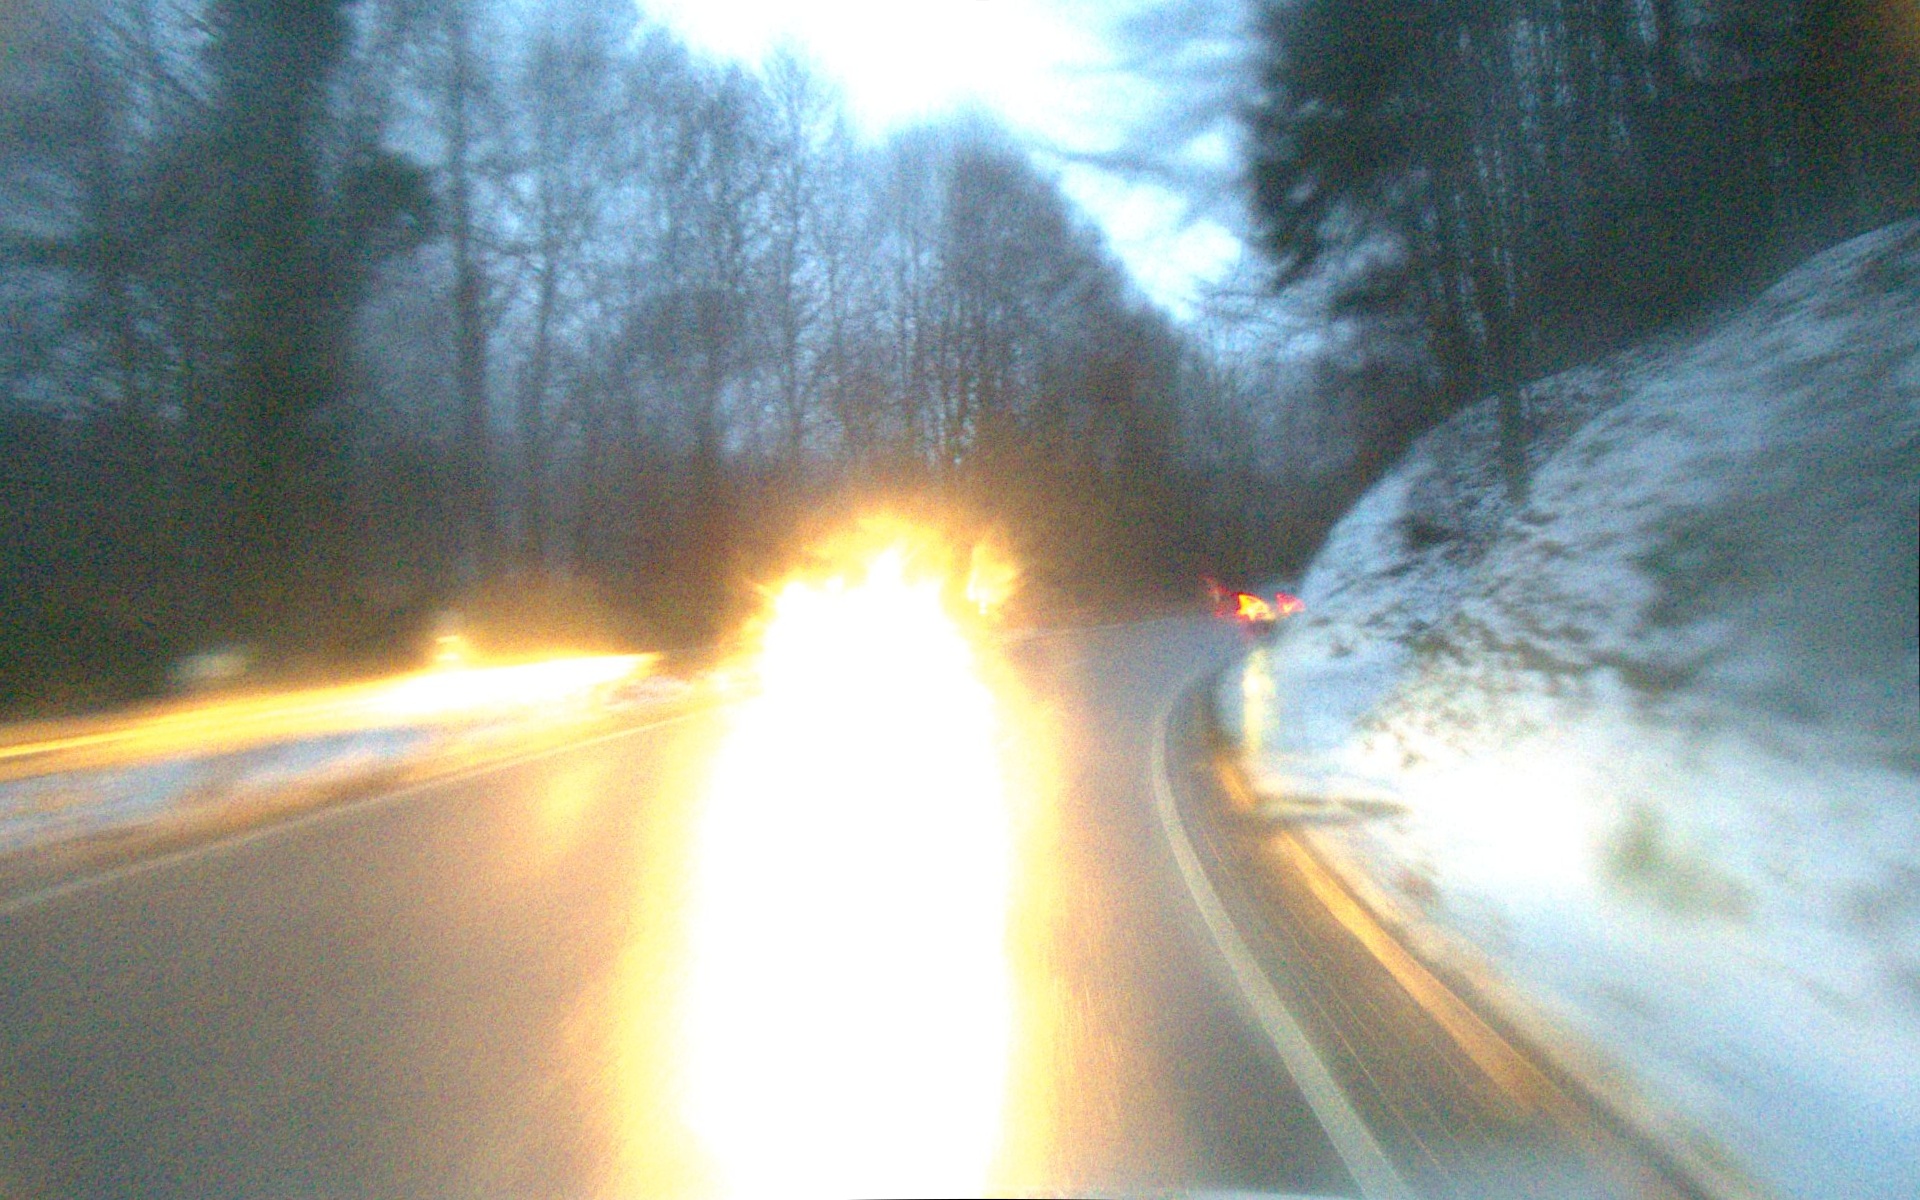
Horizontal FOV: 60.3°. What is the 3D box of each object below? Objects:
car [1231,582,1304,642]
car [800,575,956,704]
[{"bbox_3d":[10.339,0.393,55.405,1.951,1.905,4.002,-1,0,17],"label":"car"},{"bbox_3d":[-1.088,0.514,23.704,1.685,1.658,4.002,1,0,5],"label":"car"}]
